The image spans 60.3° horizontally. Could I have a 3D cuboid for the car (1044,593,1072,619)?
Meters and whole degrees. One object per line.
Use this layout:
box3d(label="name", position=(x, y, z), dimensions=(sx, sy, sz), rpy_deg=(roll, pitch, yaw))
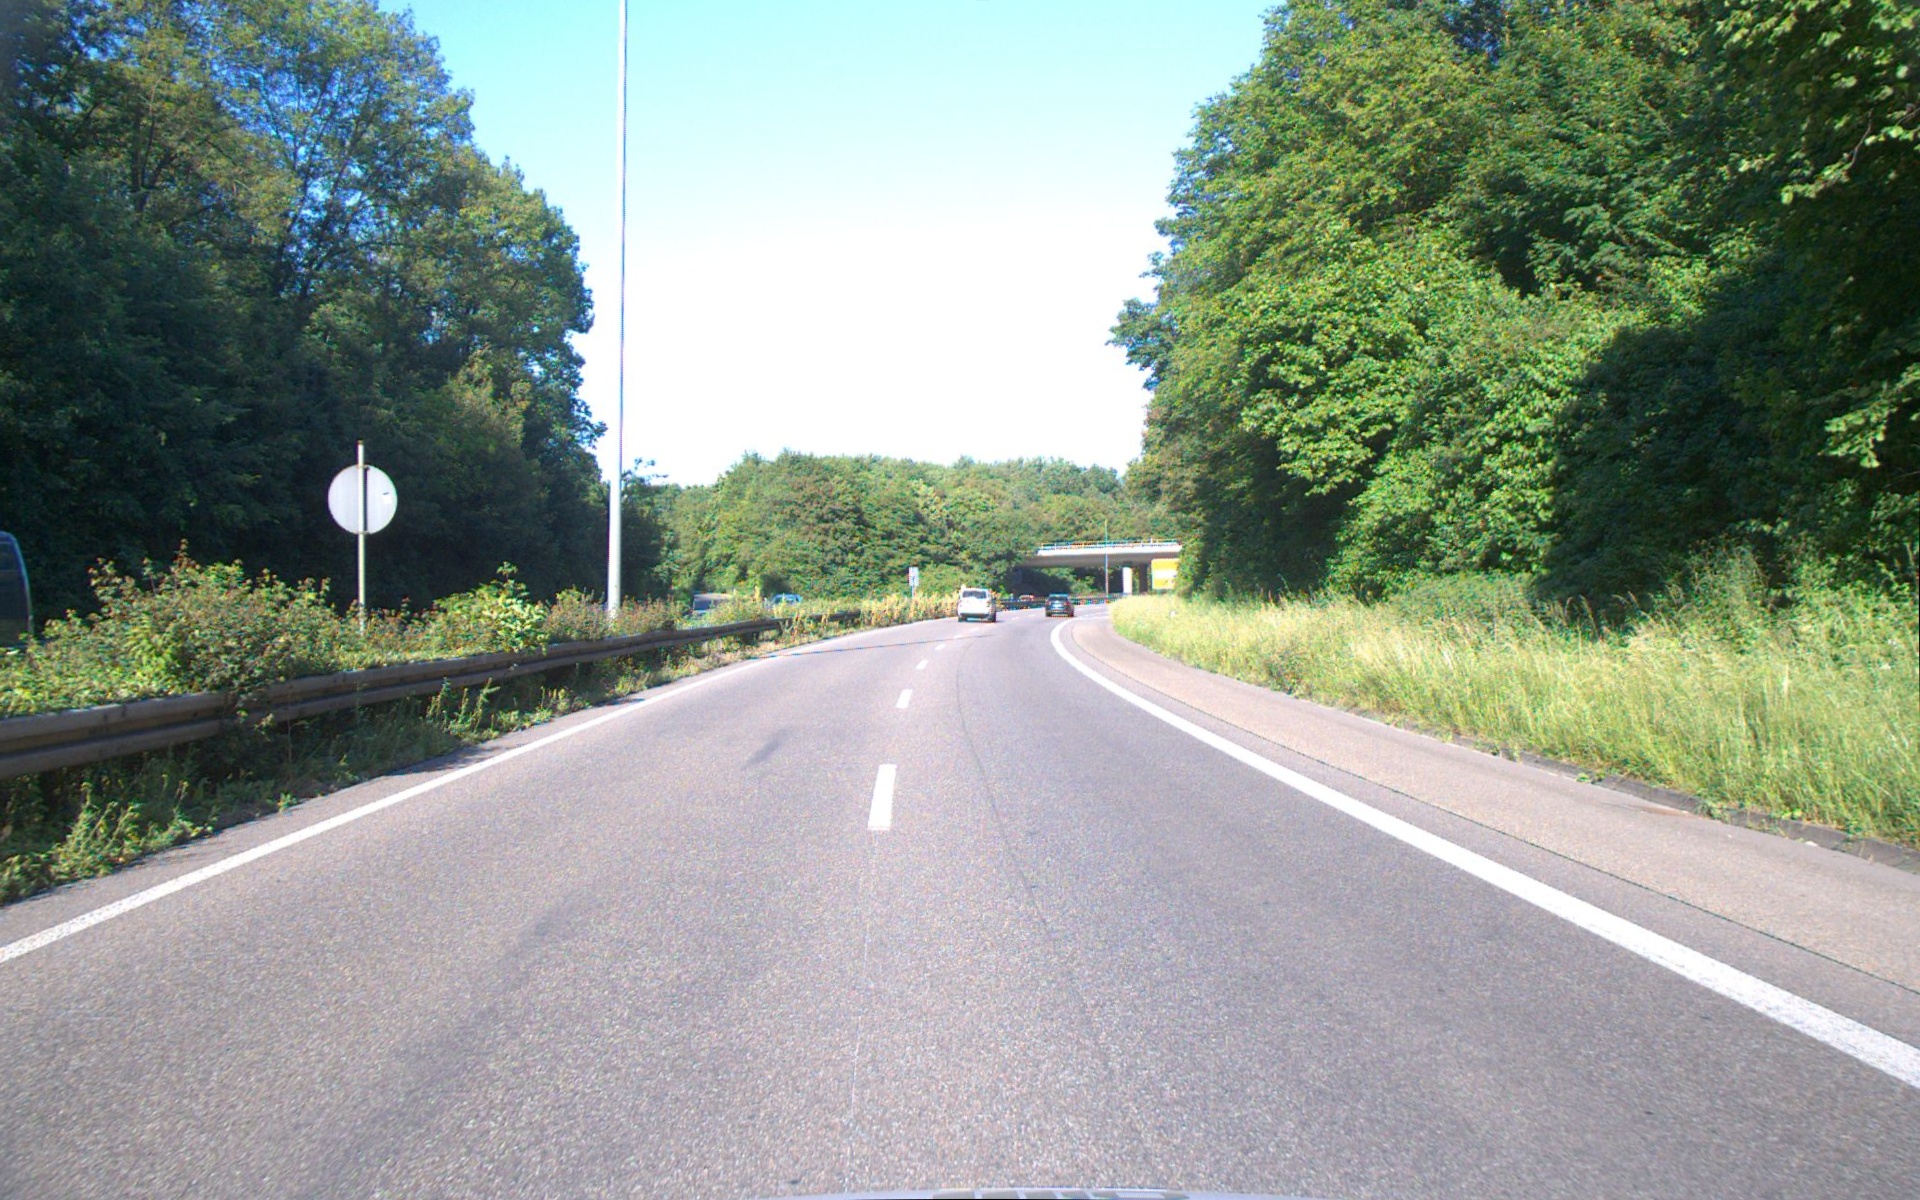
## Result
box3d(label="car", position=(6.674, 0.397, 112.661), dimensions=(1.702, 1.691, 3.948), rpy_deg=(0, 0, 6))

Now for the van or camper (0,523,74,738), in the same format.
box3d(label="van or camper", position=(-10.173, 0.301, 14.301), dimensions=(2.100, 2.049, 5.578), rpy_deg=(0, 0, -1))

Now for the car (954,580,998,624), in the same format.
box3d(label="car", position=(0.895, 0.110, 89.068), dimensions=(1.951, 2.317, 4.003), rpy_deg=(0, 0, 6))
